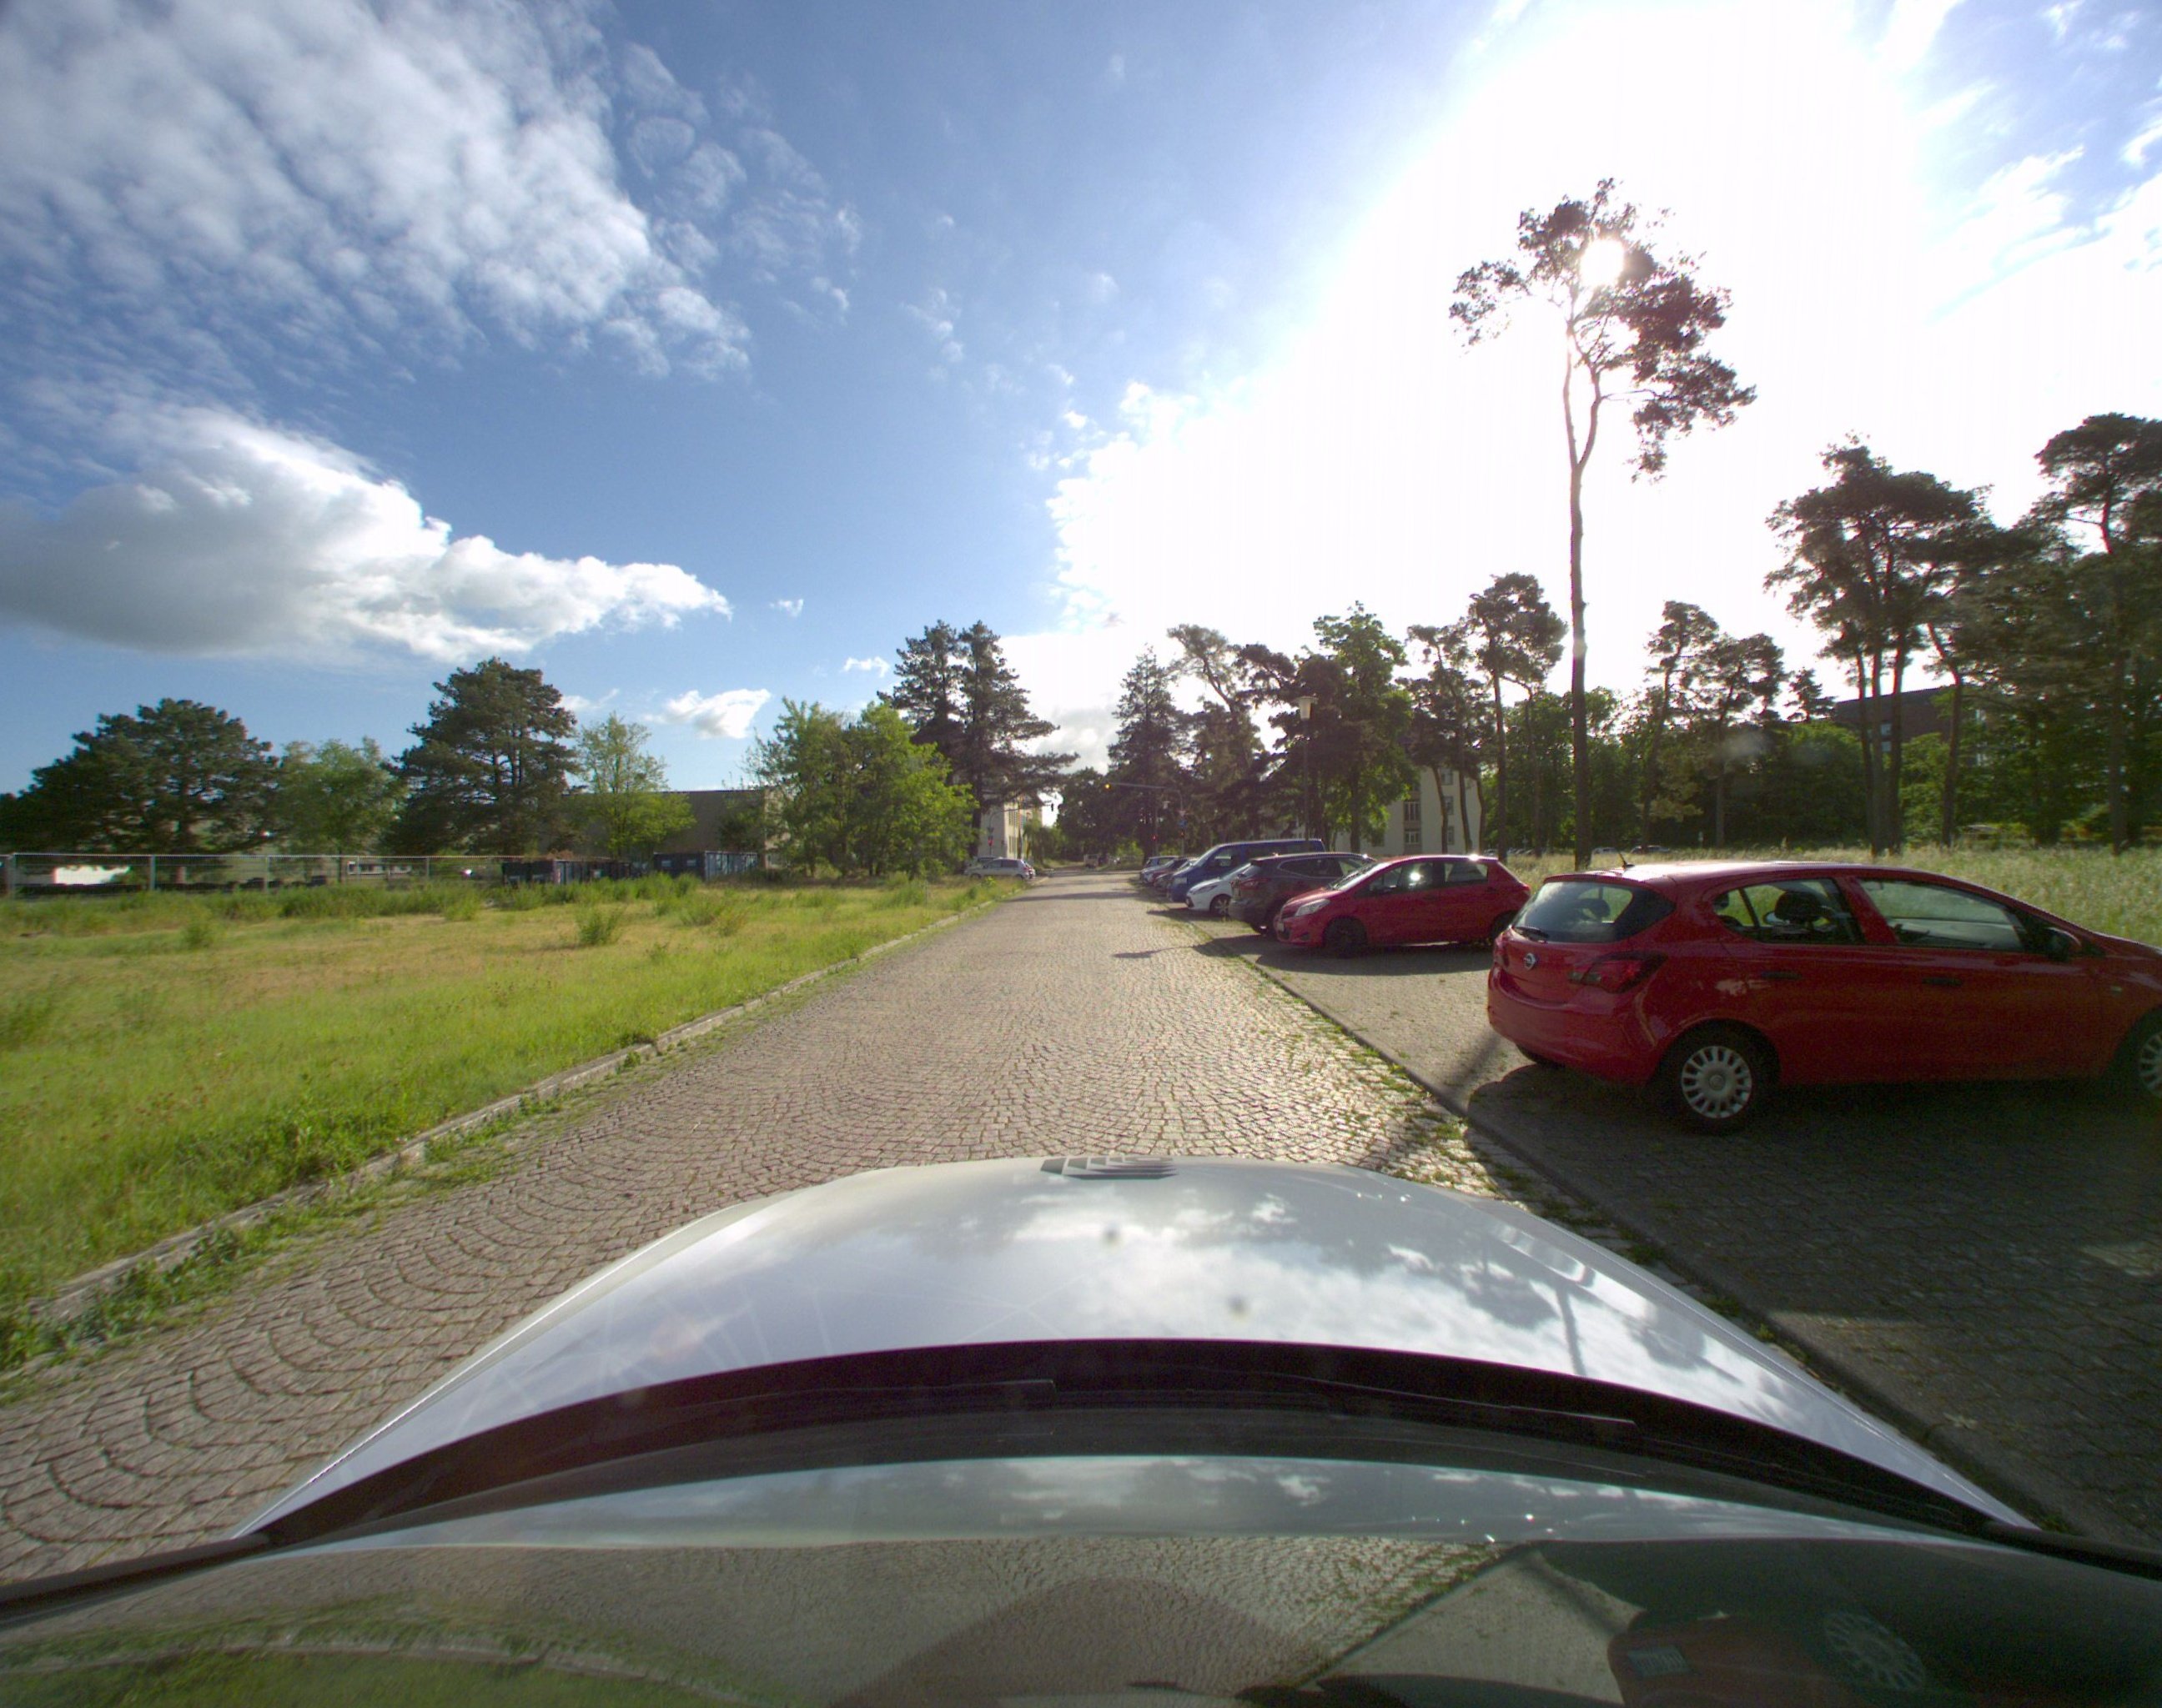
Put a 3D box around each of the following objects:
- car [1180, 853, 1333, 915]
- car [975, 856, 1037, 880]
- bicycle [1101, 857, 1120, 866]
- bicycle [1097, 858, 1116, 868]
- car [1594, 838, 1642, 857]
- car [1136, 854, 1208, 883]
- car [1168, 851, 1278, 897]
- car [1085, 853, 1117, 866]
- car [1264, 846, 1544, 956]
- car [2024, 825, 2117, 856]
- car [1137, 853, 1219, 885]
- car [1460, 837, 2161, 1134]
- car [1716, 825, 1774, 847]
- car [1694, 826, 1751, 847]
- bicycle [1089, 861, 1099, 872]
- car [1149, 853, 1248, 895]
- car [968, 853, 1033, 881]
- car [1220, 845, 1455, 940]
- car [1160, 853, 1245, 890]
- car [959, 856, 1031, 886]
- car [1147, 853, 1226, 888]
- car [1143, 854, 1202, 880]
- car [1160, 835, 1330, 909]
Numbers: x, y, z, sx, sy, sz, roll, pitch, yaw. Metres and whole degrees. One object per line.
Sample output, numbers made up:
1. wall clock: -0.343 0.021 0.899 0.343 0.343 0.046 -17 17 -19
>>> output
1. car: 4.663 0.777 21.968 3.709 1.488 1.644 -2 0 -2
2. car: -5.065 0.947 55.336 3.974 1.453 2.000 2 0 0
3. bicycle: 3.556 0.895 98.771 2.172 1.100 0.804 -1 0 -9
4. bicycle: 3.029 1.055 97.281 2.172 1.100 0.804 -1 0 -9
5. car: 59.430 -0.711 90.237 3.973 2.013 2.000 -1 0 0
6. car: 5.056 0.789 45.634 3.824 1.529 1.645 -1 0 -1
7. car: 5.143 0.719 29.823 3.681 1.466 1.646 -3 0 1
8. car: 2.786 0.774 114.757 4.466 1.728 2.000 -1 0 0
9. car: 4.949 0.694 12.824 3.751 1.530 1.645 -1 0 -1
10. car: 68.149 -0.908 56.154 3.973 2.013 2.000 -1 0 0
11. car: 5.066 0.761 42.862 4.025 1.529 1.643 -1 0 -3
12. car: 4.744 0.705 5.243 3.814 1.478 1.645 -2 0 0
13. car: 63.604 -1.683 78.061 3.973 2.013 2.000 -1 0 0
14. car: 63.390 -1.721 80.506 3.973 2.013 2.000 -1 0 0
15. bicycle: 1.487 1.446 93.824 0.803 1.169 2.176 -3 0 -5
16. car: 4.672 0.783 32.713 3.664 1.467 1.645 -2 0 -1
17. car: -5.173 0.843 52.936 3.974 1.601 2.000 2 0 0
18. car: 4.770 0.690 15.548 3.924 1.621 1.771 -1 0 -1
19. car: 5.281 0.745 35.629 3.467 1.529 1.645 -1 0 -1
20. car: -4.971 0.972 47.545 3.977 1.600 1.998 -1 0 -2
21. car: 4.941 0.755 38.323 3.467 1.529 1.645 -1 0 -1
22. car: 5.397 0.763 48.273 3.333 1.483 1.645 -1 0 -1
23. car: 4.864 0.516 24.648 4.665 2.013 2.082 -1 0 -3
